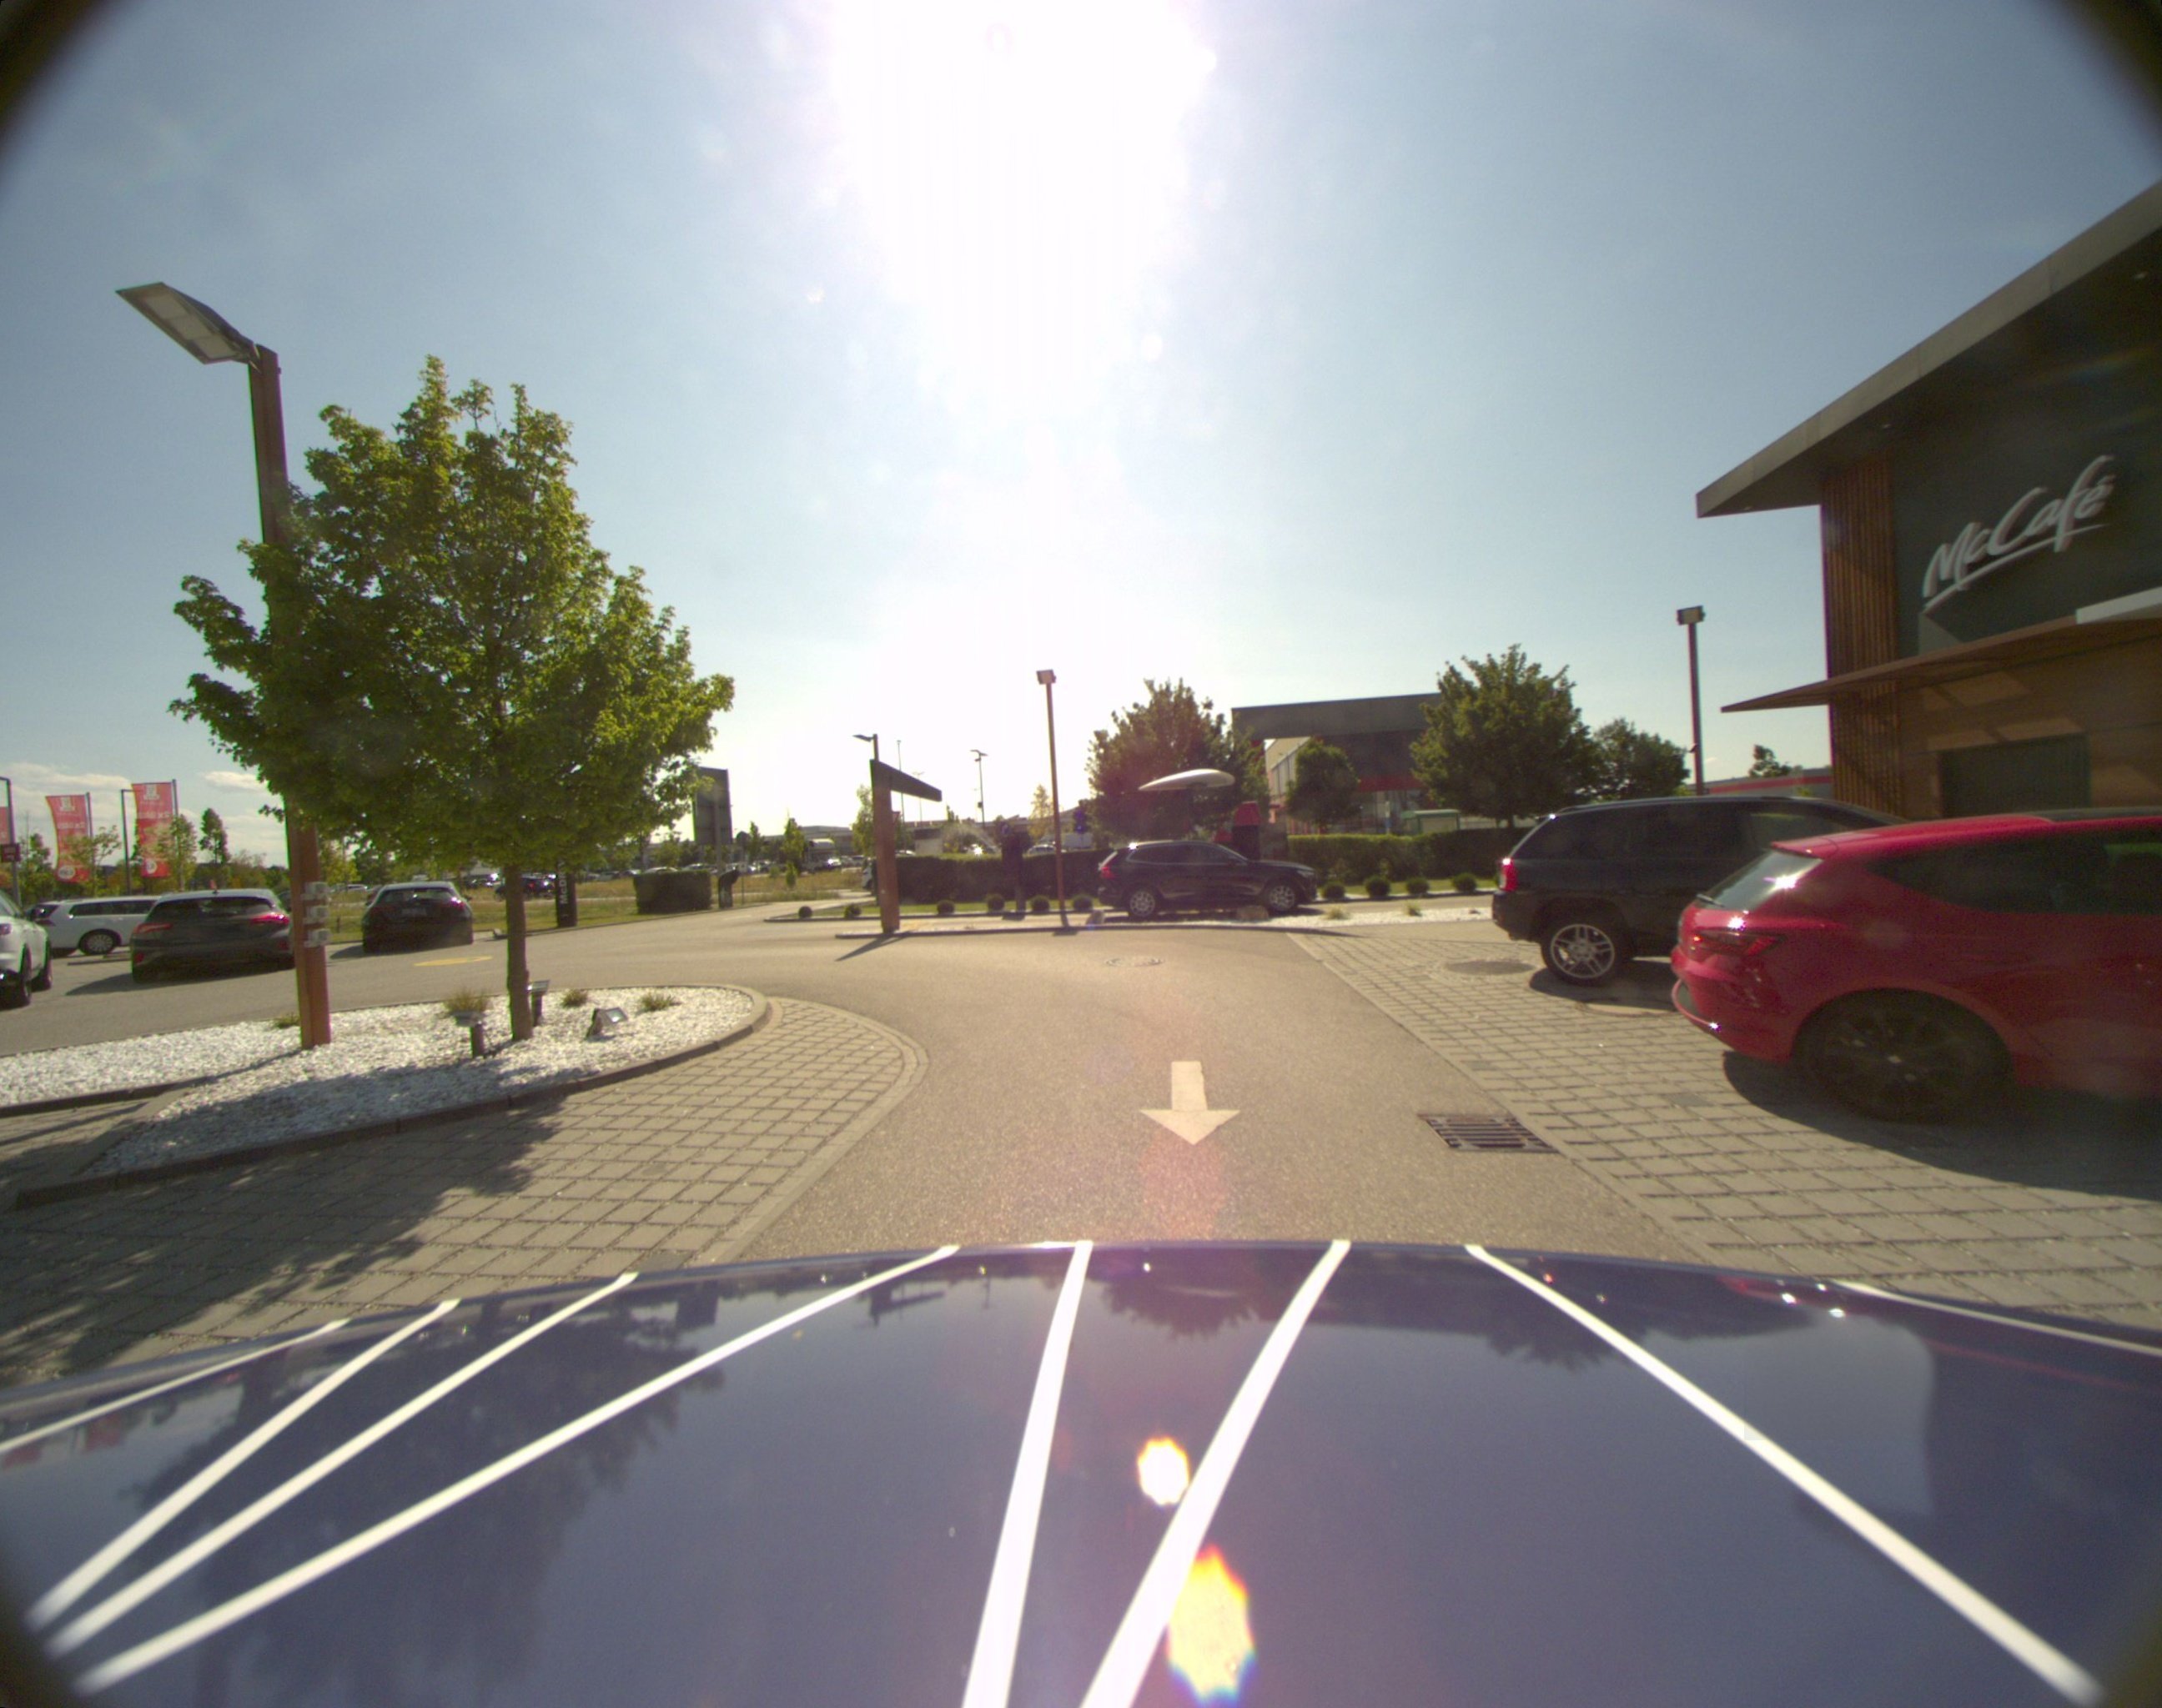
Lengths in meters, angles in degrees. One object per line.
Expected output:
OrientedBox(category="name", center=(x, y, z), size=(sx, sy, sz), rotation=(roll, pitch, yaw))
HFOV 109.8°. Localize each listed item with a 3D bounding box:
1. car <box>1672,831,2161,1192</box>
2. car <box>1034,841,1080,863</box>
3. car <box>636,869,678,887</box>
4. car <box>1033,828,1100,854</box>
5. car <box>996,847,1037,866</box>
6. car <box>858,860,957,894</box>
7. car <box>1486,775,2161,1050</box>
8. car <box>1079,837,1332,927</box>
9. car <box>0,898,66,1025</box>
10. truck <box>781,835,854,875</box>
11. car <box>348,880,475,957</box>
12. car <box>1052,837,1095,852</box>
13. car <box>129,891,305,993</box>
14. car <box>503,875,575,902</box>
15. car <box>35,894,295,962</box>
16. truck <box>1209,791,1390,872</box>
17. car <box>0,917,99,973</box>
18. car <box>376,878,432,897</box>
OrientedBox(category="car", center=(5.248, 0.629, 3.573), size=(3.763, 1.435, 1.678), rotation=(-3, 0, 35))
OrientedBox(category="car", center=(-2.176, -0.192, 69.698), size=(3.996, 1.718, 1.894), rotation=(-3, 1, 3))
OrientedBox(category="car", center=(-41.758, 2.393, 74.859), size=(1.536, 1.547, 3.226), rotation=(-2, 1, 34))
OrientedBox(category="car", center=(-1.449, -1.313, 77.778), size=(6.564, 2.231, 2.301), rotation=(-3, 1, 6))
OrientedBox(category="car", center=(-6.825, 0.250, 81.163), size=(1.889, 1.718, 4.265), rotation=(-2, 1, 38))
OrientedBox(category="car", center=(-8.468, 1.097, 37.290), size=(4.318, 1.414, 1.736), rotation=(-3, 1, 5))
OrientedBox(category="car", center=(5.968, 0.390, 6.519), size=(4.028, 1.696, 1.678), rotation=(-3, 1, 45))
OrientedBox(category="car", center=(2.591, 0.574, 16.506), size=(5.059, 1.620, 1.925), rotation=(-3, 1, 5))
OrientedBox(category="car", center=(-15.511, 1.447, 10.240), size=(4.044, 1.547, 1.810), rotation=(-2, 1, 41))
OrientedBox(category="truck", center=(-23.603, 0.115, 67.785), size=(7.545, 3.333, 2.427), rotation=(-2, 2, 40))
OrientedBox(category="car", center=(-15.046, 1.366, 17.211), size=(1.917, 1.414, 3.765), rotation=(-3, 1, -40))
OrientedBox(category="car", center=(-0.723, -0.933, 74.673), size=(3.903, 1.334, 1.666), rotation=(-3, 1, 6))
OrientedBox(category="car", center=(-15.388, 1.452, 13.742), size=(4.075, 1.414, 1.801), rotation=(-2, 1, 45))
OrientedBox(category="car", center=(-36.618, 2.341, 51.368), size=(3.769, 1.551, 1.803), rotation=(-3, 1, 13))
OrientedBox(category="car", center=(-25.276, 1.985, 21.209), size=(1.885, 1.390, 4.159), rotation=(-3, 1, 14))
OrientedBox(category="truck", center=(11.843, -1.191, 42.087), size=(9.119, 3.844, 3.211), rotation=(-3, 1, 7))
OrientedBox(category="car", center=(-32.478, 2.808, 22.486), size=(1.684, 1.445, 3.758), rotation=(-3, 1, 14))
OrientedBox(category="car", center=(-57.745, 2.846, 64.815), size=(3.991, 1.455, 1.763), rotation=(-3, 1, 20))
